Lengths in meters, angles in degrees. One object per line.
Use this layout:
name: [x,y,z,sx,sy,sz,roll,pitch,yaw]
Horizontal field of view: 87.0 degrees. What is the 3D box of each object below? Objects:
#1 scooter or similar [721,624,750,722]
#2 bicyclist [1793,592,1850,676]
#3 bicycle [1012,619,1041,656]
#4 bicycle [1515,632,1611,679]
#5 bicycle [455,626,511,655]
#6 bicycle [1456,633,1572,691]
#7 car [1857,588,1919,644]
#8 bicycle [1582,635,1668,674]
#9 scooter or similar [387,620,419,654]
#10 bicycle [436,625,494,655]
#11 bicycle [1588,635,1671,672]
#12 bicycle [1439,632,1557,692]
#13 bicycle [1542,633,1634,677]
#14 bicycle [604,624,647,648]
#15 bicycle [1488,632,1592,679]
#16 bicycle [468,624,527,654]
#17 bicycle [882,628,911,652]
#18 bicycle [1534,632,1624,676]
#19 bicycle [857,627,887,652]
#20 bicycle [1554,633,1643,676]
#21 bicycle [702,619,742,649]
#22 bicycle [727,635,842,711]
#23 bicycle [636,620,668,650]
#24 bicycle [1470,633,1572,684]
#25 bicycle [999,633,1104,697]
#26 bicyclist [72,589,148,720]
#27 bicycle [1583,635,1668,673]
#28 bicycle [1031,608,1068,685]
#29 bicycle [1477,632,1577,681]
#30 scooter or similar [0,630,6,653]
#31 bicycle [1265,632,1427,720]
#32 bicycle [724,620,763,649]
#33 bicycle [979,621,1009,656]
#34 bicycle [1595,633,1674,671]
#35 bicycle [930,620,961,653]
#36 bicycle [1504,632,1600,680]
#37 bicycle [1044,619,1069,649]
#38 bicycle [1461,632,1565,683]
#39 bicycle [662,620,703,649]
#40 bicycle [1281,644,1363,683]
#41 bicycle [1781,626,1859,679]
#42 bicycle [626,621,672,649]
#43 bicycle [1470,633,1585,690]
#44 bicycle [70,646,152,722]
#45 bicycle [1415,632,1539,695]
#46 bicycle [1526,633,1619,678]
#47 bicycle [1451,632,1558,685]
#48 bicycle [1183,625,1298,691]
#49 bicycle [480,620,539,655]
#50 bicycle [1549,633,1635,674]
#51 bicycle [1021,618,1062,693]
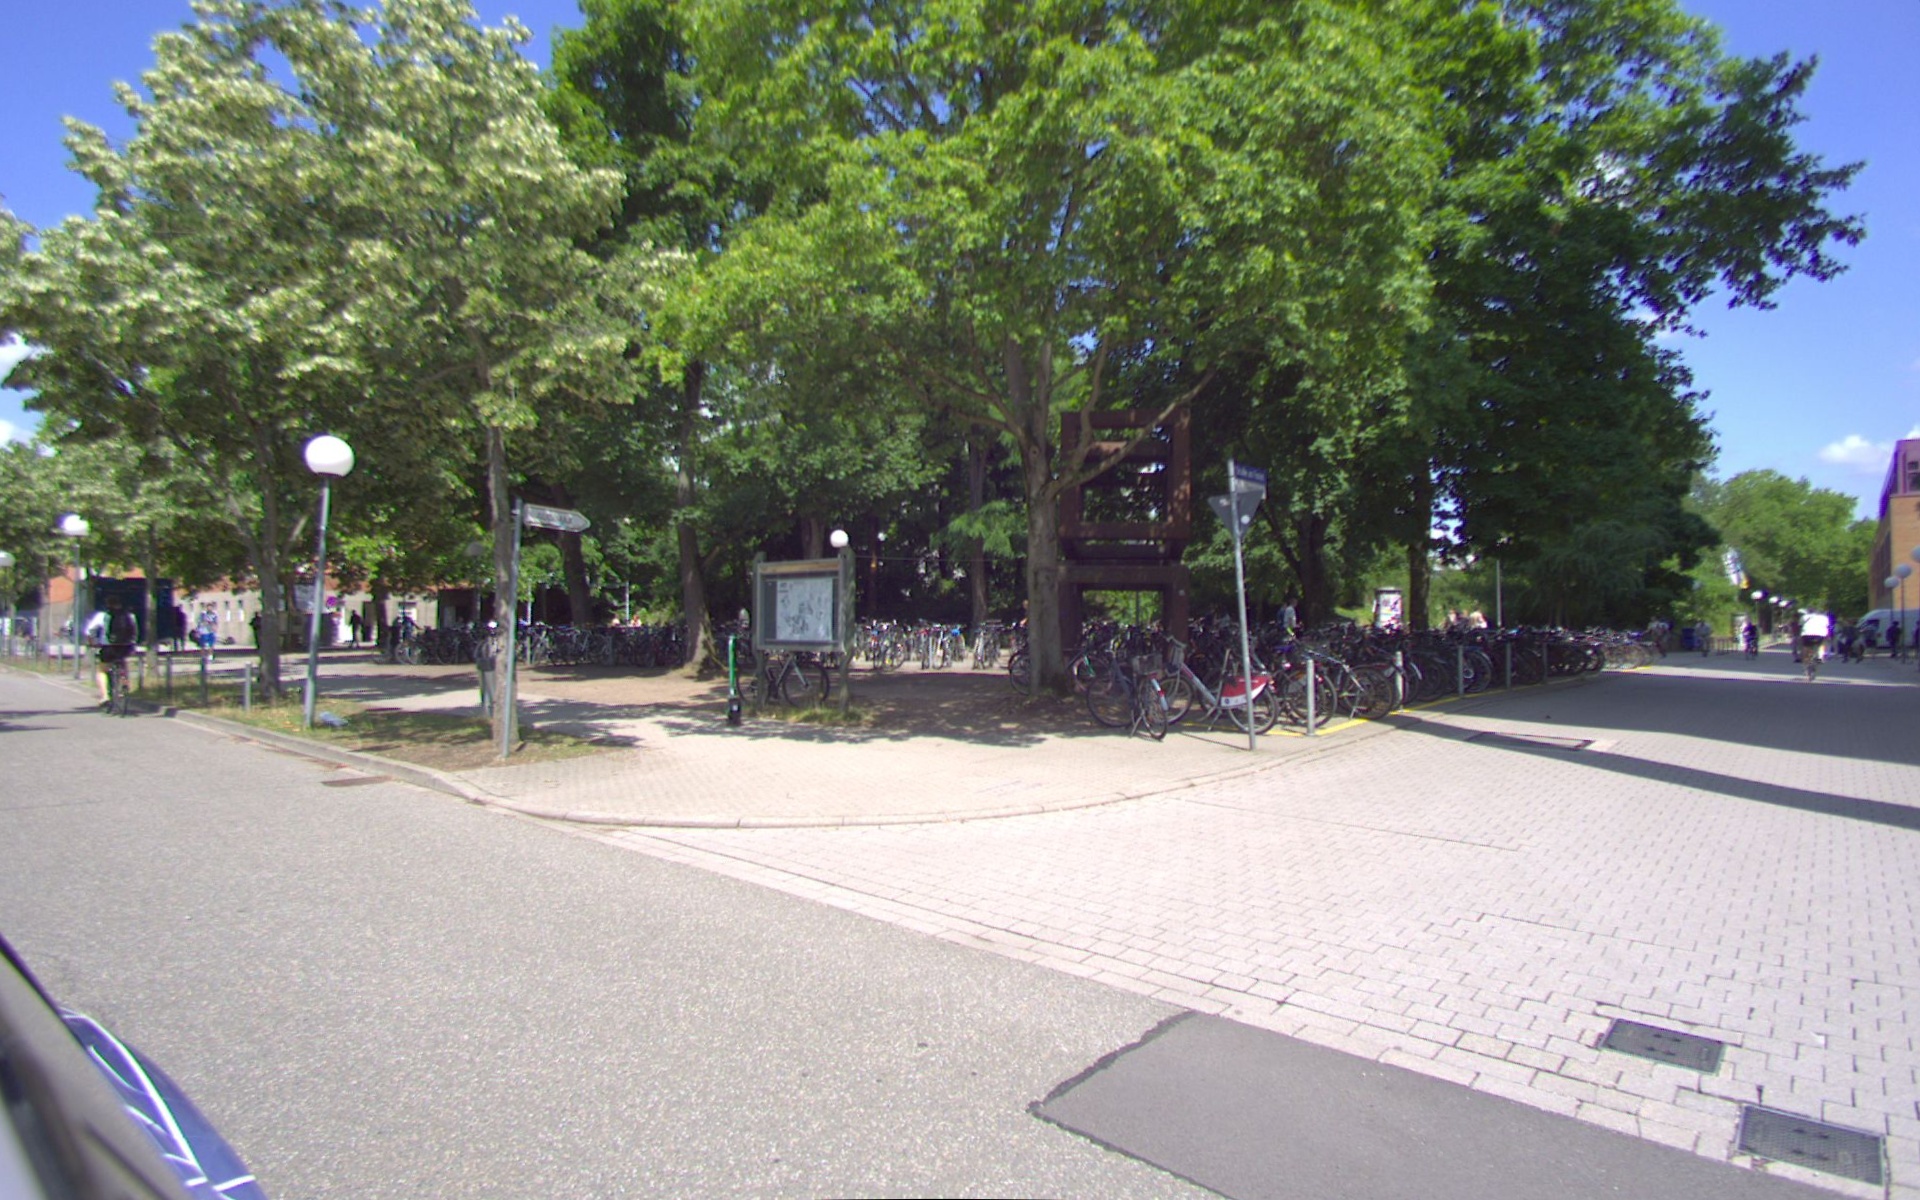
scooter or similar: [-2.930,0.914,13.151,0.334,1.184,1.332,0,-1,-13]
bicyclist: [21.348,0.836,25.074,0.836,2.029,0.878,1,-2,-37]
bicycle: [2.126,1.158,31.995,0.727,1.117,2.299,-1,-1,8]
bicycle: [15.079,1.375,25.341,1.972,1.095,0.546,-1,0,42]
bicycle: [-17.367,1.458,36.857,0.538,1.022,1.782,-2,-1,44]
bicycle: [11.164,1.223,20.433,1.972,1.095,0.546,-1,0,42]
car: [48.336,0.804,50.867,4.620,2.797,1.975,-1,-1,37]
bicycle: [18.639,1.507,28.387,1.969,1.031,0.611,-1,0,37]
scooter or similar: [-21.258,1.409,38.603,1.241,1.255,0.691,-1,-1,42]
bicycle: [-17.507,1.403,35.840,0.537,1.022,1.782,-2,-1,44]
bicycle: [19.432,1.540,29.395,1.969,1.031,0.611,-1,0,37]
bicycle: [10.629,1.204,20.034,1.972,1.095,0.546,-1,0,42]
bicycle: [16.461,1.425,26.546,1.972,1.095,0.546,-1,0,42]
bicycle: [-13.902,1.494,42.100,0.544,0.949,1.866,0,0,28]
bicycle: [14.013,1.324,24.504,2.128,1.076,0.492,-1,-2,41]
bicycle: [-16.414,1.386,35.937,0.535,1.011,1.947,-1,-1,31]
bicycle: [-2.409,1.522,38.781,0.416,0.900,1.755,-1,-1,21]
bicycle: [16.641,1.436,27.233,1.972,1.095,0.546,-1,0,42]
bicycle: [-3.385,1.511,39.006,0.416,0.900,1.755,-1,-1,21]
bicycle: [17.385,1.460,27.601,1.972,1.095,0.546,-1,0,42]
bicycle: [-9.412,1.333,40.090,0.592,1.099,1.946,0,0,19]
bicycle: [-2.545,1.024,14.545,1.807,1.033,0.379,-1,-1,30]
bicycle: [-12.087,1.357,39.806,0.589,1.099,1.956,0,0,3]
bicycle: [12.921,1.336,23.360,1.972,1.095,0.546,-1,0,42]
bicycle: [1.473,1.028,16.363,1.650,0.972,0.472,-1,-1,31]
bicyclist: [-13.759,0.872,16.381,1.018,2.029,0.704,-1,-3,39]
bicycle: [19.011,1.522,28.929,1.969,1.031,0.611,-1,0,37]
bicycle: [1.825,0.909,20.367,0.600,1.461,2.284,0,-1,8]
bicycle: [13.361,1.314,23.902,1.972,1.095,0.546,-1,0,42]
scooter or similar: [-50.019,2.153,52.531,0.556,1.158,1.353,1,-2,-36]
bicycle: [5.202,0.996,13.738,1.972,1.095,0.546,-1,0,42]
bicycle: [-8.494,1.342,39.790,0.592,1.099,1.946,0,0,19]
bicycle: [1.268,1.413,37.426,0.421,1.216,1.782,-1,-1,24]
bicycle: [20.885,1.592,31.365,1.972,1.095,0.546,-1,0,42]
bicycle: [-0.533,1.360,38.098,0.421,1.216,1.782,-1,-1,24]
bicycle: [14.554,1.357,24.918,1.972,1.095,0.546,-1,0,42]
bicycle: [3.496,1.218,36.535,0.502,1.043,2.050,-1,-1,18]
bicycle: [12.492,1.281,22.901,1.972,1.095,0.546,-1,0,42]
bicycle: [-11.157,1.368,40.731,0.592,1.099,1.946,0,0,19]
bicycle: [7.370,1.300,20.636,1.542,0.768,0.322,-1,-1,9]
bicycle: [21.251,1.270,24.988,2.705,1.209,0.887,1,-2,-37]
bicycle: [-12.795,1.419,41.665,0.594,1.099,1.939,0,0,28]
bicycle: [11.668,1.240,20.850,1.972,1.095,0.546,-1,0,42]
bicycle: [-13.768,1.328,16.396,1.887,1.138,0.678,-1,-2,40]
bicycle: [9.650,1.167,18.936,1.972,1.095,0.546,-1,0,42]
bicycle: [15.741,1.400,26.027,1.972,1.095,0.546,-1,0,42]
bicycle: [11.953,1.260,22.258,1.972,1.095,0.546,-1,0,42]
bicycle: [4.705,0.953,17.064,1.850,1.040,0.470,-1,-2,42]
bicycle: [-15.657,1.292,35.210,0.535,1.134,1.947,-1,-1,31]
bicycle: [17.668,1.474,28.333,1.972,1.095,0.546,-1,0,42]
bicycle: [1.468,0.976,18.070,0.581,1.263,2.015,0,-2,9]
